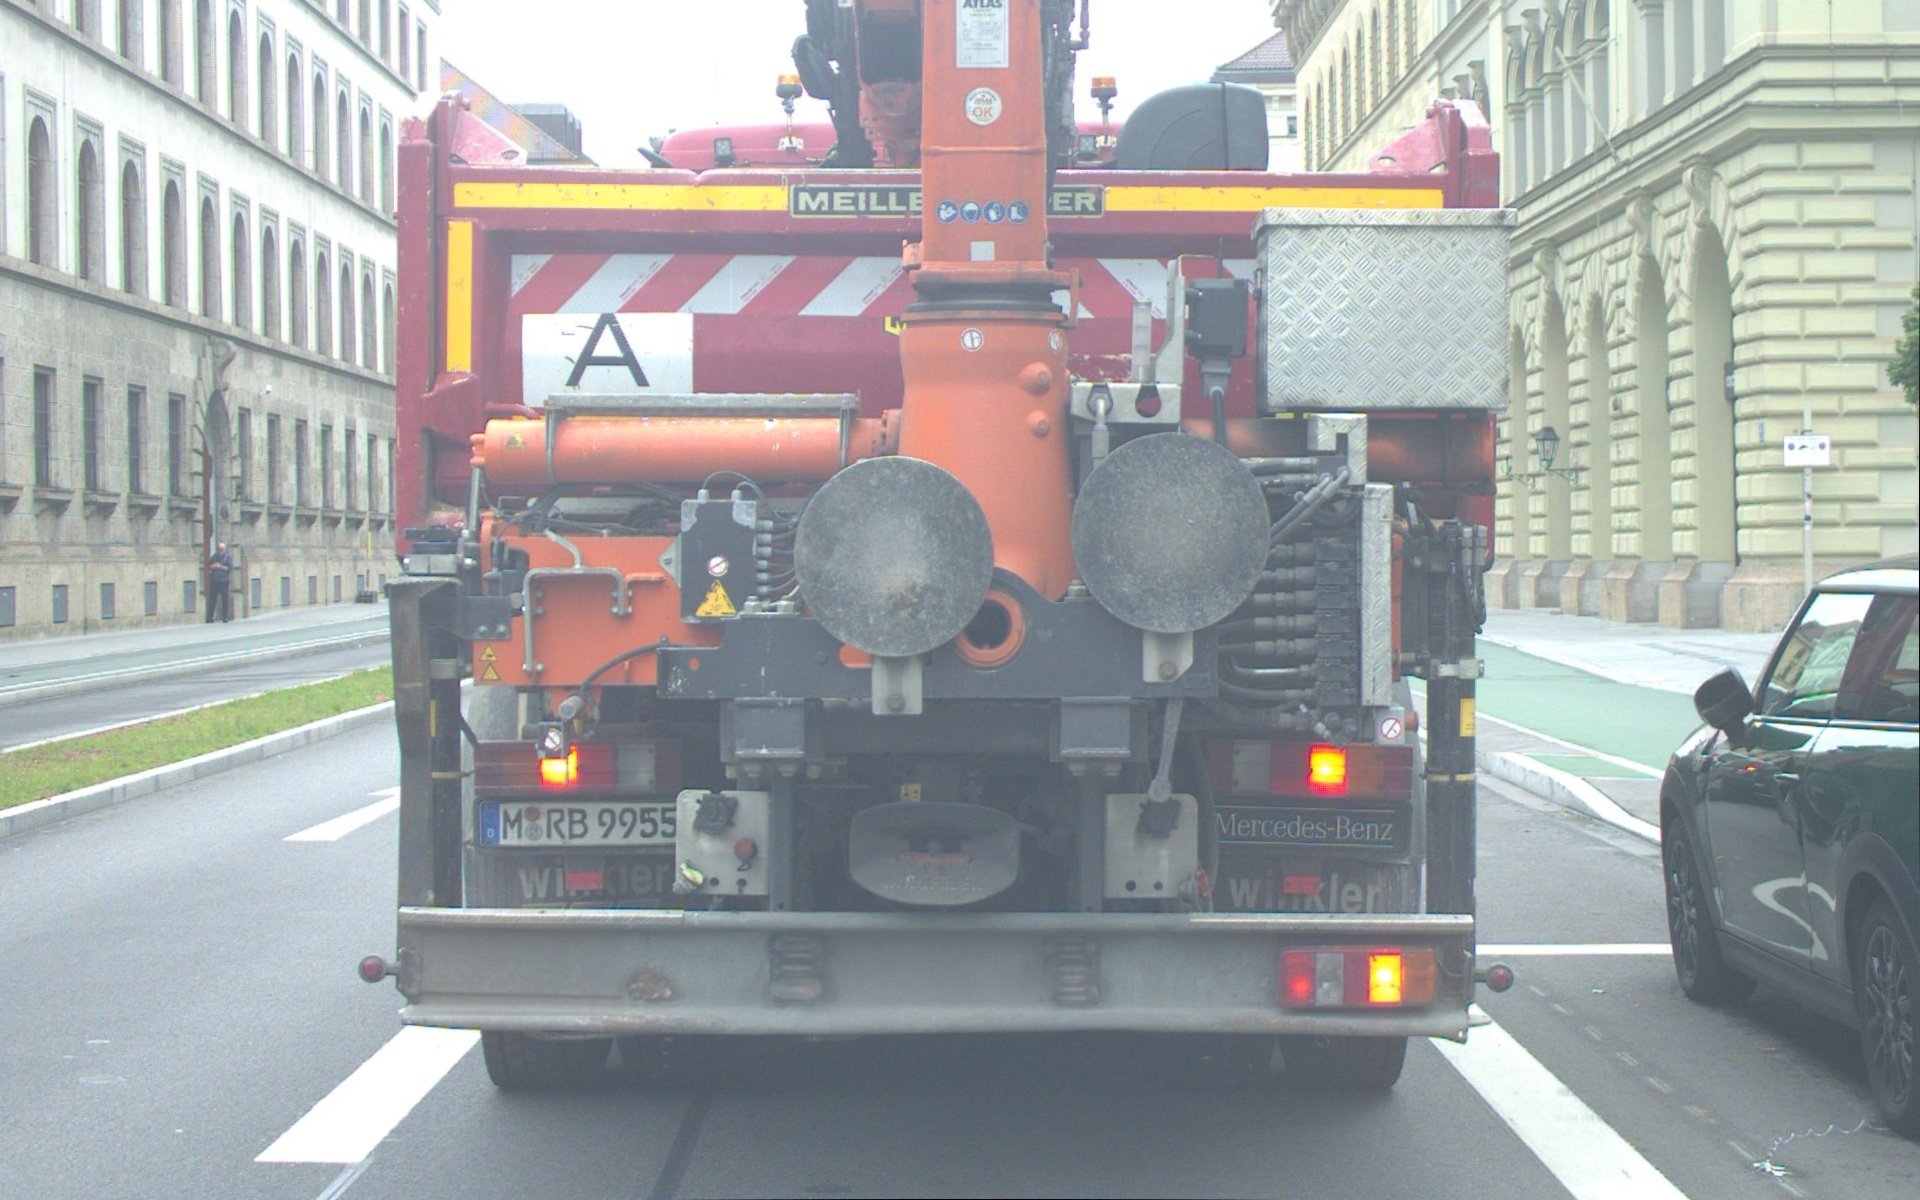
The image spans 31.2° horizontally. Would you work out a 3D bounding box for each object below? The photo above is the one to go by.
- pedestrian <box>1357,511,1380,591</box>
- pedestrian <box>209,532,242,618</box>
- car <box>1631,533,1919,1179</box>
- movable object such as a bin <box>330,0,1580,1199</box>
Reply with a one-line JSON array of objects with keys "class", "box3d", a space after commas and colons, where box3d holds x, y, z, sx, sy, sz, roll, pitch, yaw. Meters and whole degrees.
[{"class": "pedestrian", "box3d": [9.413, -1.125, 79.233, 0.445, 1.830, 0.556, -1, 1, 1]}, {"class": "pedestrian", "box3d": [-15.773, -0.541, 73.818, 0.588, 1.825, 0.499, 0, 1, -1]}, {"class": "car", "box3d": [3.036, 0.561, 9.669, 1.610, 1.490, 3.424, -1, 1, 0]}, {"class": "movable object such as a bin", "box3d": [-0.055, -0.474, 9.604, 2.423, 3.599, 5.852, 0, 1, -1]}]
